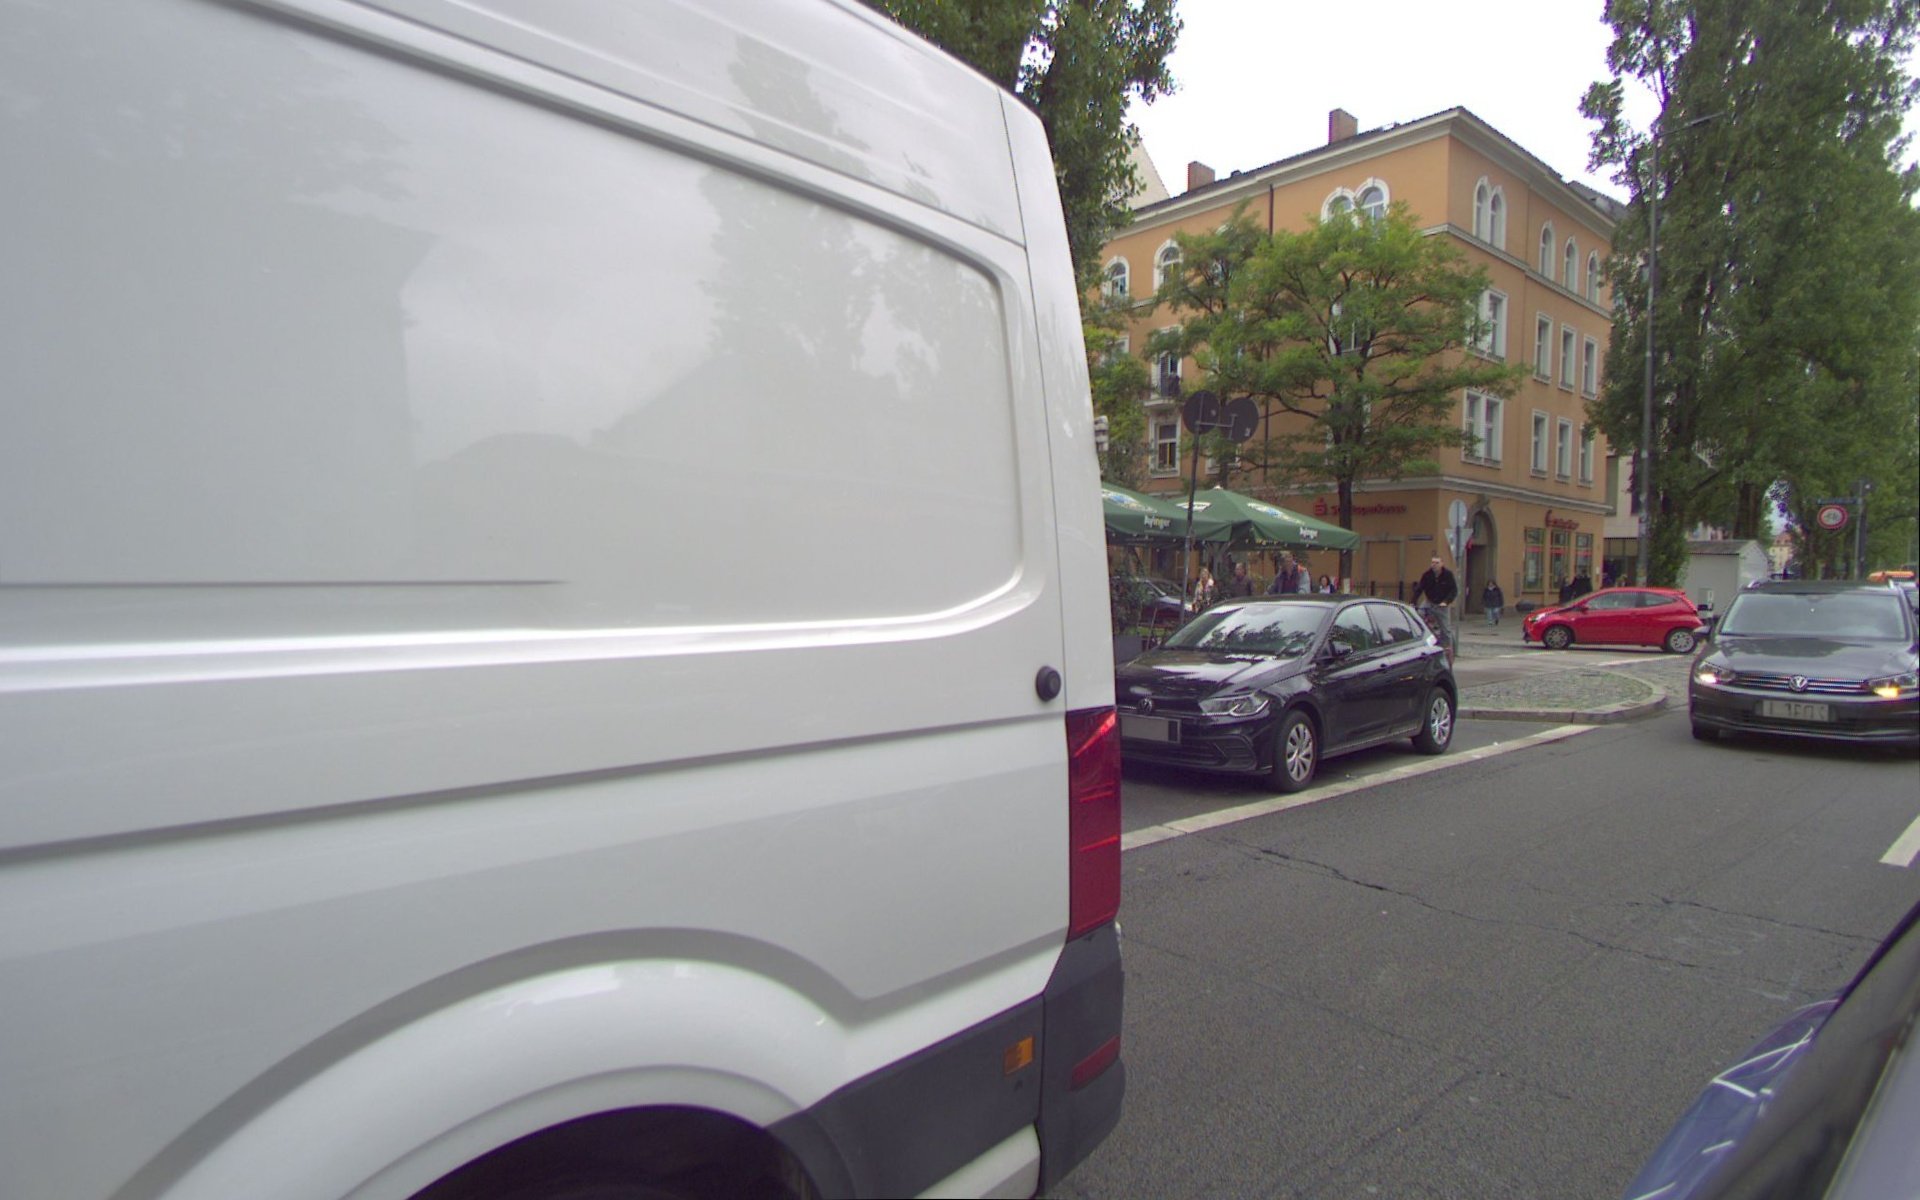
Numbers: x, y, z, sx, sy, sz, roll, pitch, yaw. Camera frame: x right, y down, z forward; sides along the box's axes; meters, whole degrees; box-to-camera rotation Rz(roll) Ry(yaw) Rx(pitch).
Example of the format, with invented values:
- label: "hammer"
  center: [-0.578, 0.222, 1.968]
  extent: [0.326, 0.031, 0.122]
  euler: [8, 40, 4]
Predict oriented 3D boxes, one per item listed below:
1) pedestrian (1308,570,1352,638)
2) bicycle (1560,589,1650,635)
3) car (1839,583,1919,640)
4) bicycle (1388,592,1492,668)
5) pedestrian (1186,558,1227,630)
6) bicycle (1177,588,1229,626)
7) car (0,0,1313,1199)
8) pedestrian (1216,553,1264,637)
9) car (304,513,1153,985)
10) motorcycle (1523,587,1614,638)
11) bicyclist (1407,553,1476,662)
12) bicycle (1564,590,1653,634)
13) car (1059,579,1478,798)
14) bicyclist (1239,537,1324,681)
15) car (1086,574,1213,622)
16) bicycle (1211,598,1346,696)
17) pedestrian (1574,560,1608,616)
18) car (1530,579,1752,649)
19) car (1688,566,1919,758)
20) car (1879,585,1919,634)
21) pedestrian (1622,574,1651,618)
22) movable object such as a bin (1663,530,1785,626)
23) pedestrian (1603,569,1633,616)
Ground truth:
- label: "pedestrian"
  center: [8.852, 0.077, 24.199]
  extent: [0.651, 1.590, 0.746]
  euler: [-1, 0, -38]
- label: "bicycle"
  center: [17.210, 0.304, 27.036]
  extent: [0.551, 1.151, 1.945]
  euler: [0, 2, -39]
- label: "car"
  center: [27.897, 0.303, 30.348]
  extent: [4.421, 1.572, 1.787]
  euler: [0, 1, -42]
- label: "bicycle"
  center: [7.768, 0.449, 16.336]
  extent: [2.065, 1.134, 0.736]
  euler: [0, 2, -41]
- label: "pedestrian"
  center: [5.575, -0.140, 22.905]
  extent: [0.564, 1.590, 0.699]
  euler: [-1, 0, -38]
- label: "bicycle"
  center: [9.066, 0.240, 37.813]
  extent: [0.551, 1.389, 1.945]
  euler: [0, 1, -39]
- label: "car"
  center: [-2.516, 0.158, 0.548]
  extent: [6.611, 2.524, 2.067]
  euler: [0, 1, -41]
- label: "pedestrian"
  center: [6.092, -0.120, 22.010]
  extent: [0.718, 1.788, 0.699]
  euler: [-1, 0, -38]
- label: "car"
  center: [-0.968, 0.490, 5.706]
  extent: [4.371, 1.658, 1.805]
  euler: [-1, 1, -42]
- label: "motorcycle"
  center: [15.783, 0.306, 26.278]
  extent: [1.939, 1.236, 0.510]
  euler: [2, 1, 25]
- label: "bicyclist"
  center: [7.768, 0.103, 16.328]
  extent: [0.736, 1.708, 0.740]
  euler: [0, 1, -41]
- label: "bicycle"
  center: [17.625, 0.314, 27.534]
  extent: [0.551, 1.102, 1.945]
  euler: [0, 2, -39]
- label: "car"
  center: [2.781, 0.564, 8.659]
  extent: [3.884, 1.434, 1.696]
  euler: [0, 2, -43]
- label: "bicyclist"
  center: [4.144, 0.102, 13.041]
  extent: [0.828, 1.779, 0.657]
  euler: [2, 1, 42]
- label: "car"
  center: [6.439, -0.080, 34.743]
  extent: [1.873, 1.539, 3.993]
  euler: [-1, 1, -41]
- label: "bicycle"
  center: [4.158, 0.557, 13.114]
  extent: [0.884, 1.134, 2.070]
  euler: [2, 2, 42]
- label: "pedestrian"
  center: [22.794, -0.431, 36.555]
  extent: [0.788, 1.973, 0.839]
  euler: [-1, 0, -42]
- label: "car"
  center: [15.171, 0.271, 22.824]
  extent: [3.966, 1.451, 1.602]
  euler: [1, 1, 28]
- label: "car"
  center: [9.047, 0.498, 10.479]
  extent: [1.878, 1.611, 4.126]
  euler: [1, 1, 44]
- label: "car"
  center: [33.362, 0.308, 35.080]
  extent: [4.421, 1.634, 1.787]
  euler: [0, 1, -42]
- label: "pedestrian"
  center: [25.056, -0.151, 37.479]
  extent: [0.603, 1.590, 0.746]
  euler: [-1, 0, -38]
- label: "movable object such as a bin"
  center: [27.291, -0.799, 36.122]
  extent: [4.463, 3.175, 2.445]
  euler: [0, 3, -41]
- label: "pedestrian"
  center: [23.514, -0.274, 36.187]
  extent: [0.758, 1.681, 0.744]
  euler: [-1, 0, -43]
